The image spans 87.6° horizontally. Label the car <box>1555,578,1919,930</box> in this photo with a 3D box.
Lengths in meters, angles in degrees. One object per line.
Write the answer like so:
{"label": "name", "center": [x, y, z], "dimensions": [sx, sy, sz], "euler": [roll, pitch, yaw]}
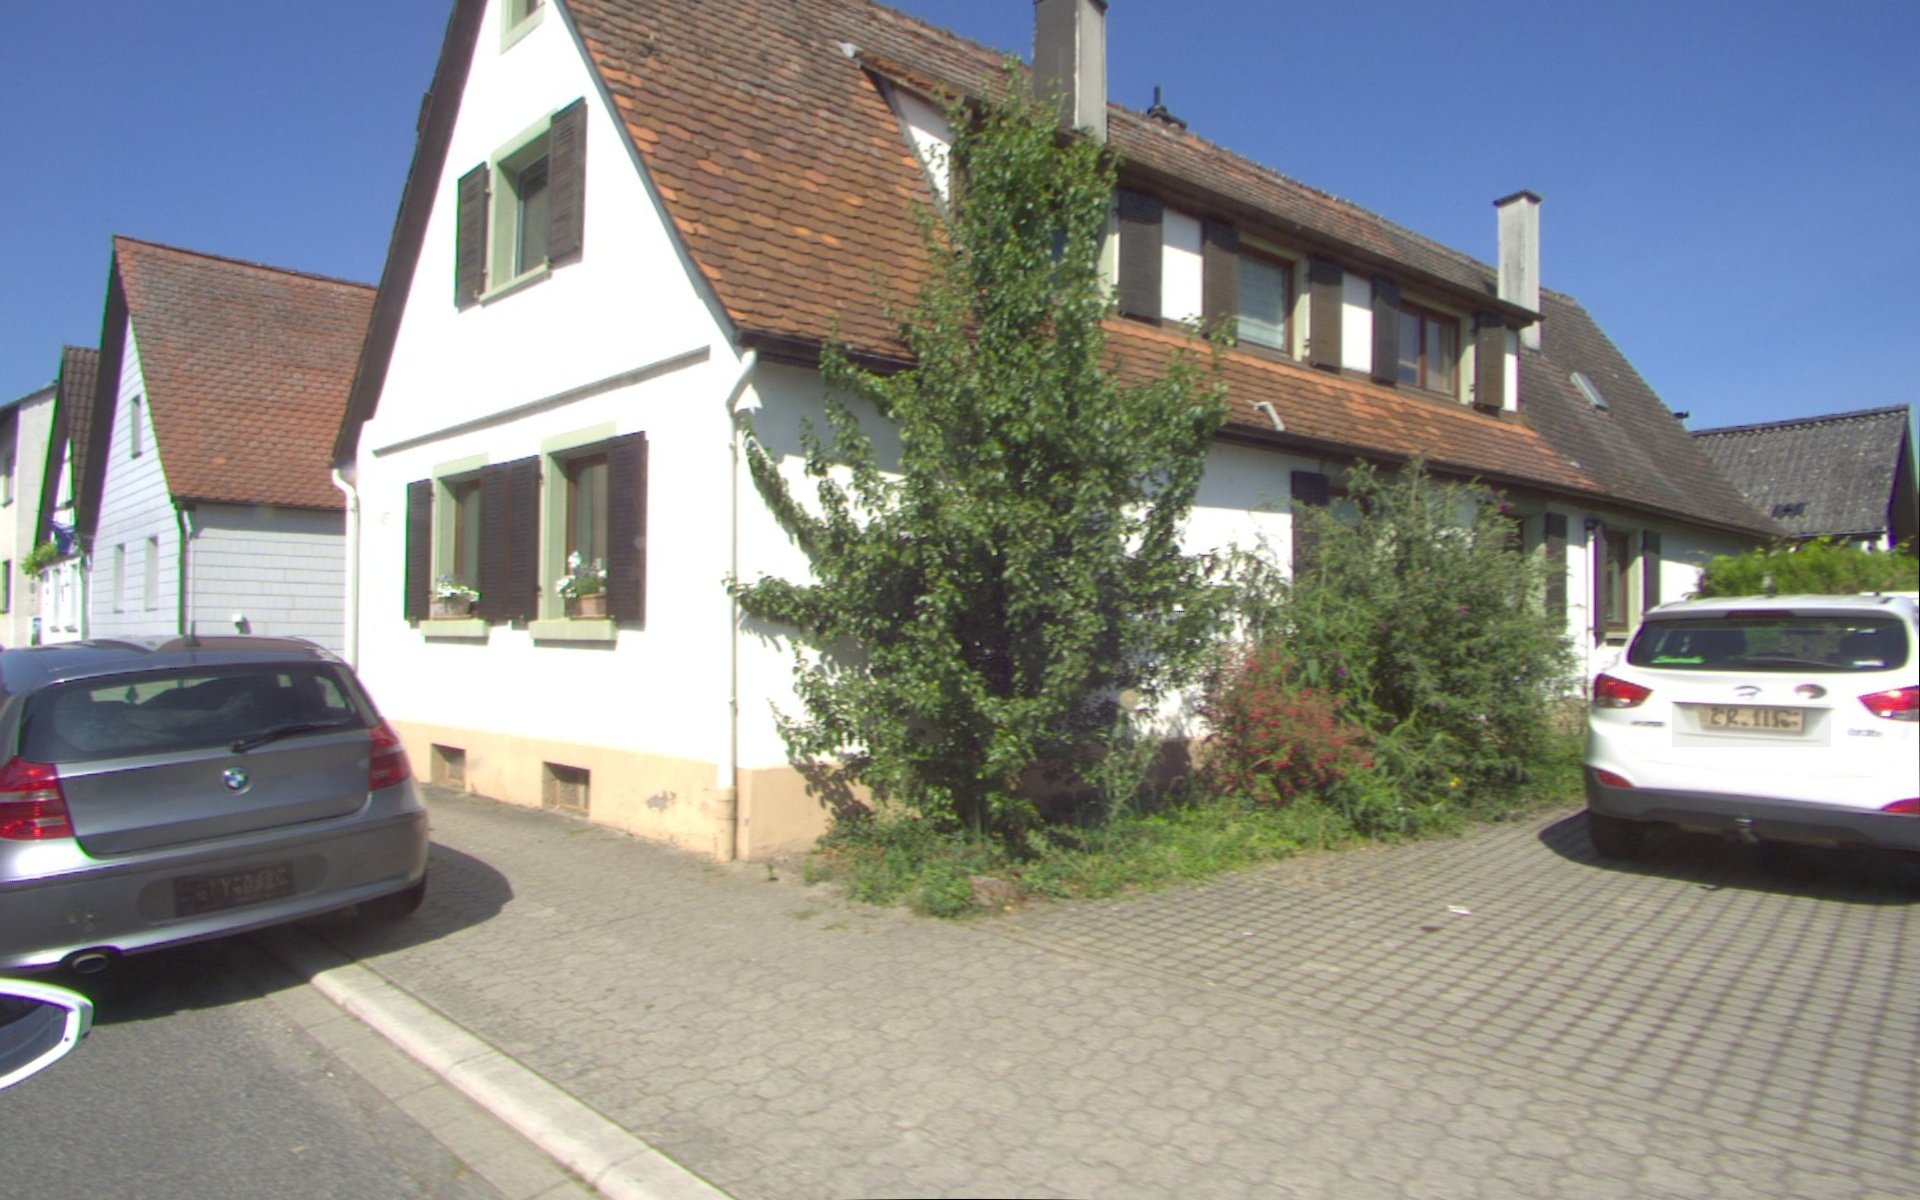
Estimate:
{"label": "car", "center": [5.652, 0.811, 6.711], "dimensions": [4.147, 1.678, 1.795], "euler": [2, -3, -43]}

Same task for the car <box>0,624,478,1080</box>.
{"label": "car", "center": [-4.153, 0.875, 5.030], "dimensions": [3.844, 1.451, 1.697], "euler": [-2, -1, 40]}

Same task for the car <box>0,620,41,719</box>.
{"label": "car", "center": [-16.363, 1.131, 16.236], "dimensions": [3.412, 1.517, 1.696], "euler": [-1, 1, 40]}
